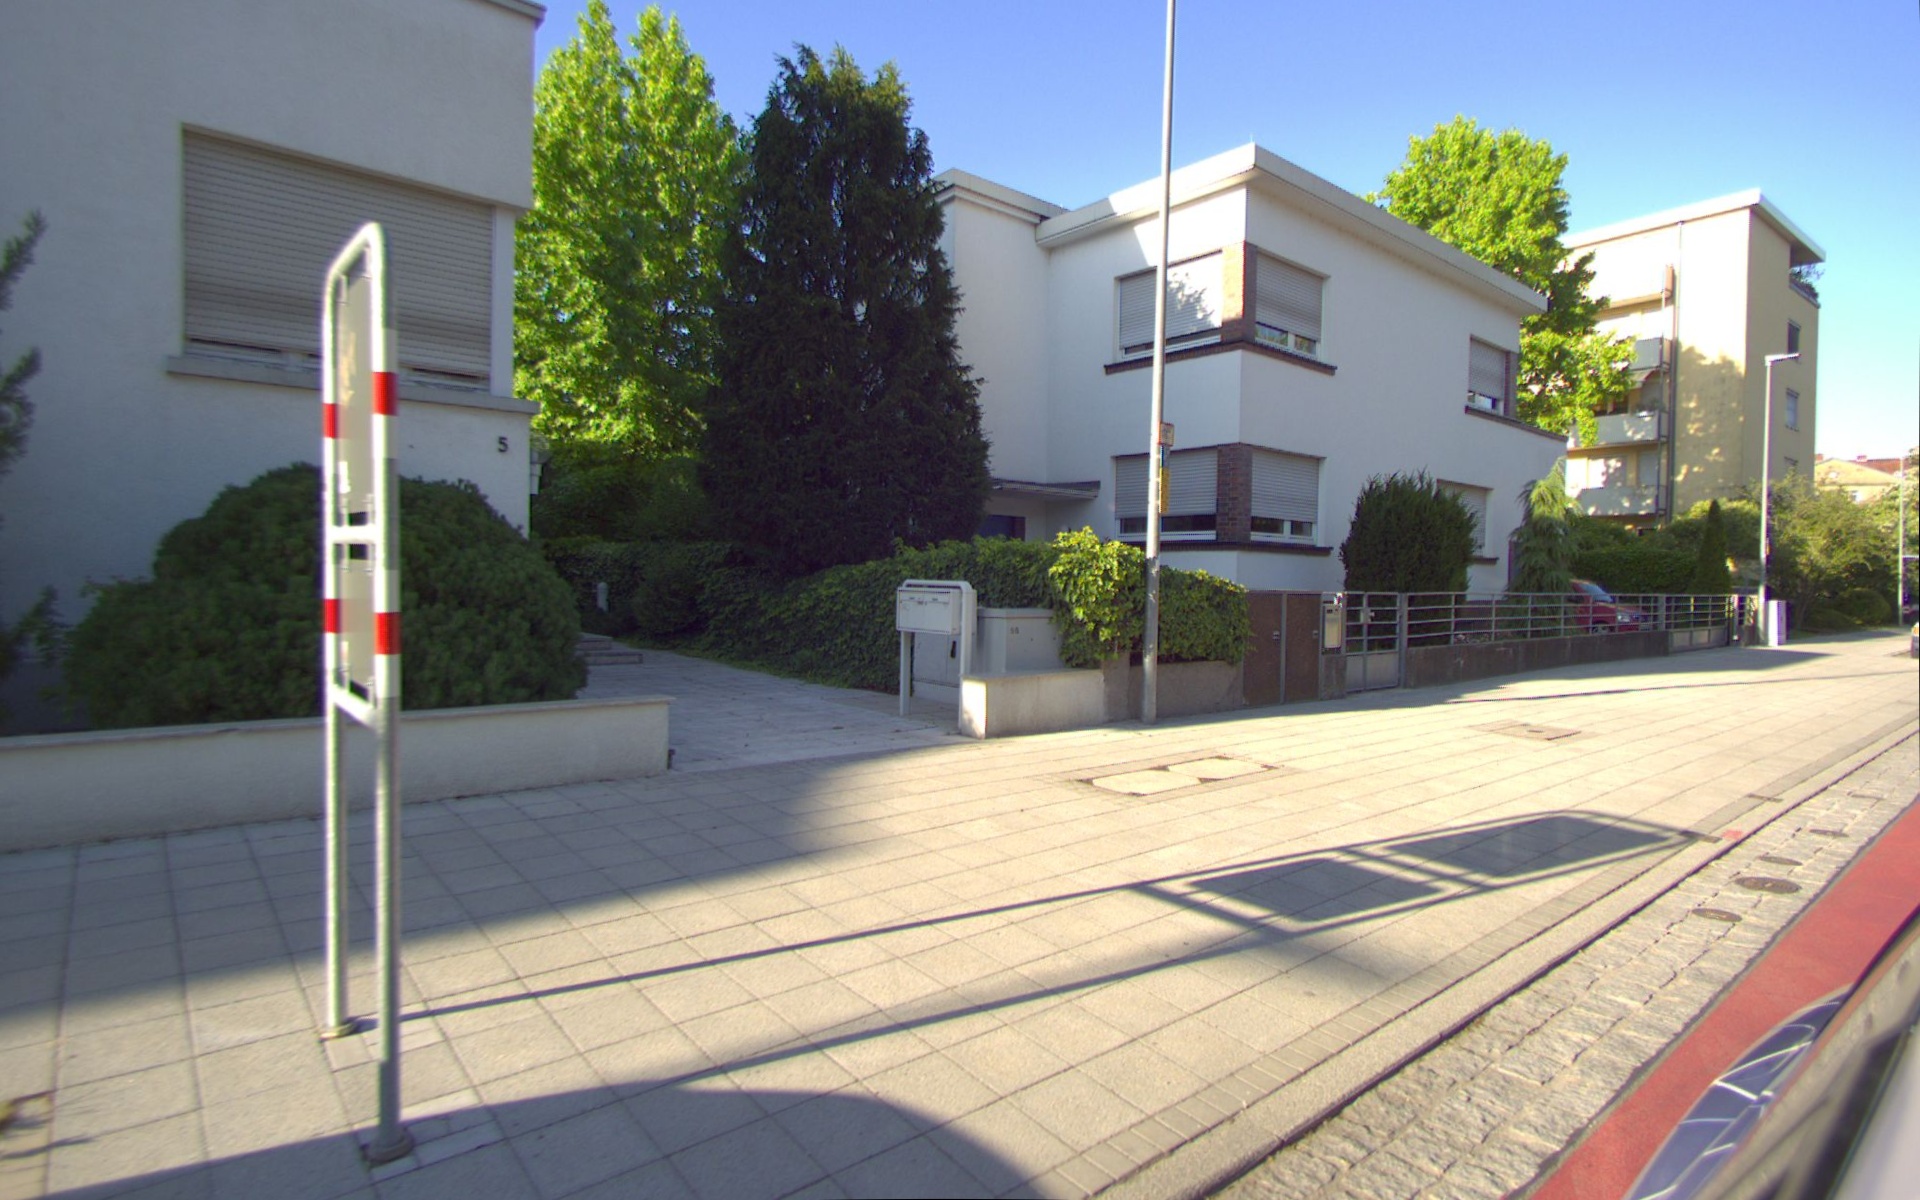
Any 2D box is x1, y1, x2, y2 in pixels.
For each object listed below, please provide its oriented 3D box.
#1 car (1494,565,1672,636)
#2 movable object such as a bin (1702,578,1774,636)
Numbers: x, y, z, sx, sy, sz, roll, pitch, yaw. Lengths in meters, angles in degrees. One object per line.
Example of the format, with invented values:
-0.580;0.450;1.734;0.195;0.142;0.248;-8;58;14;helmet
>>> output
15.702;-0.034;25.669;1.611;1.662;3.507;0;1;-32;car
20.073;0.151;26.110;1.102;1.450;1.240;0;1;-38;movable object such as a bin
